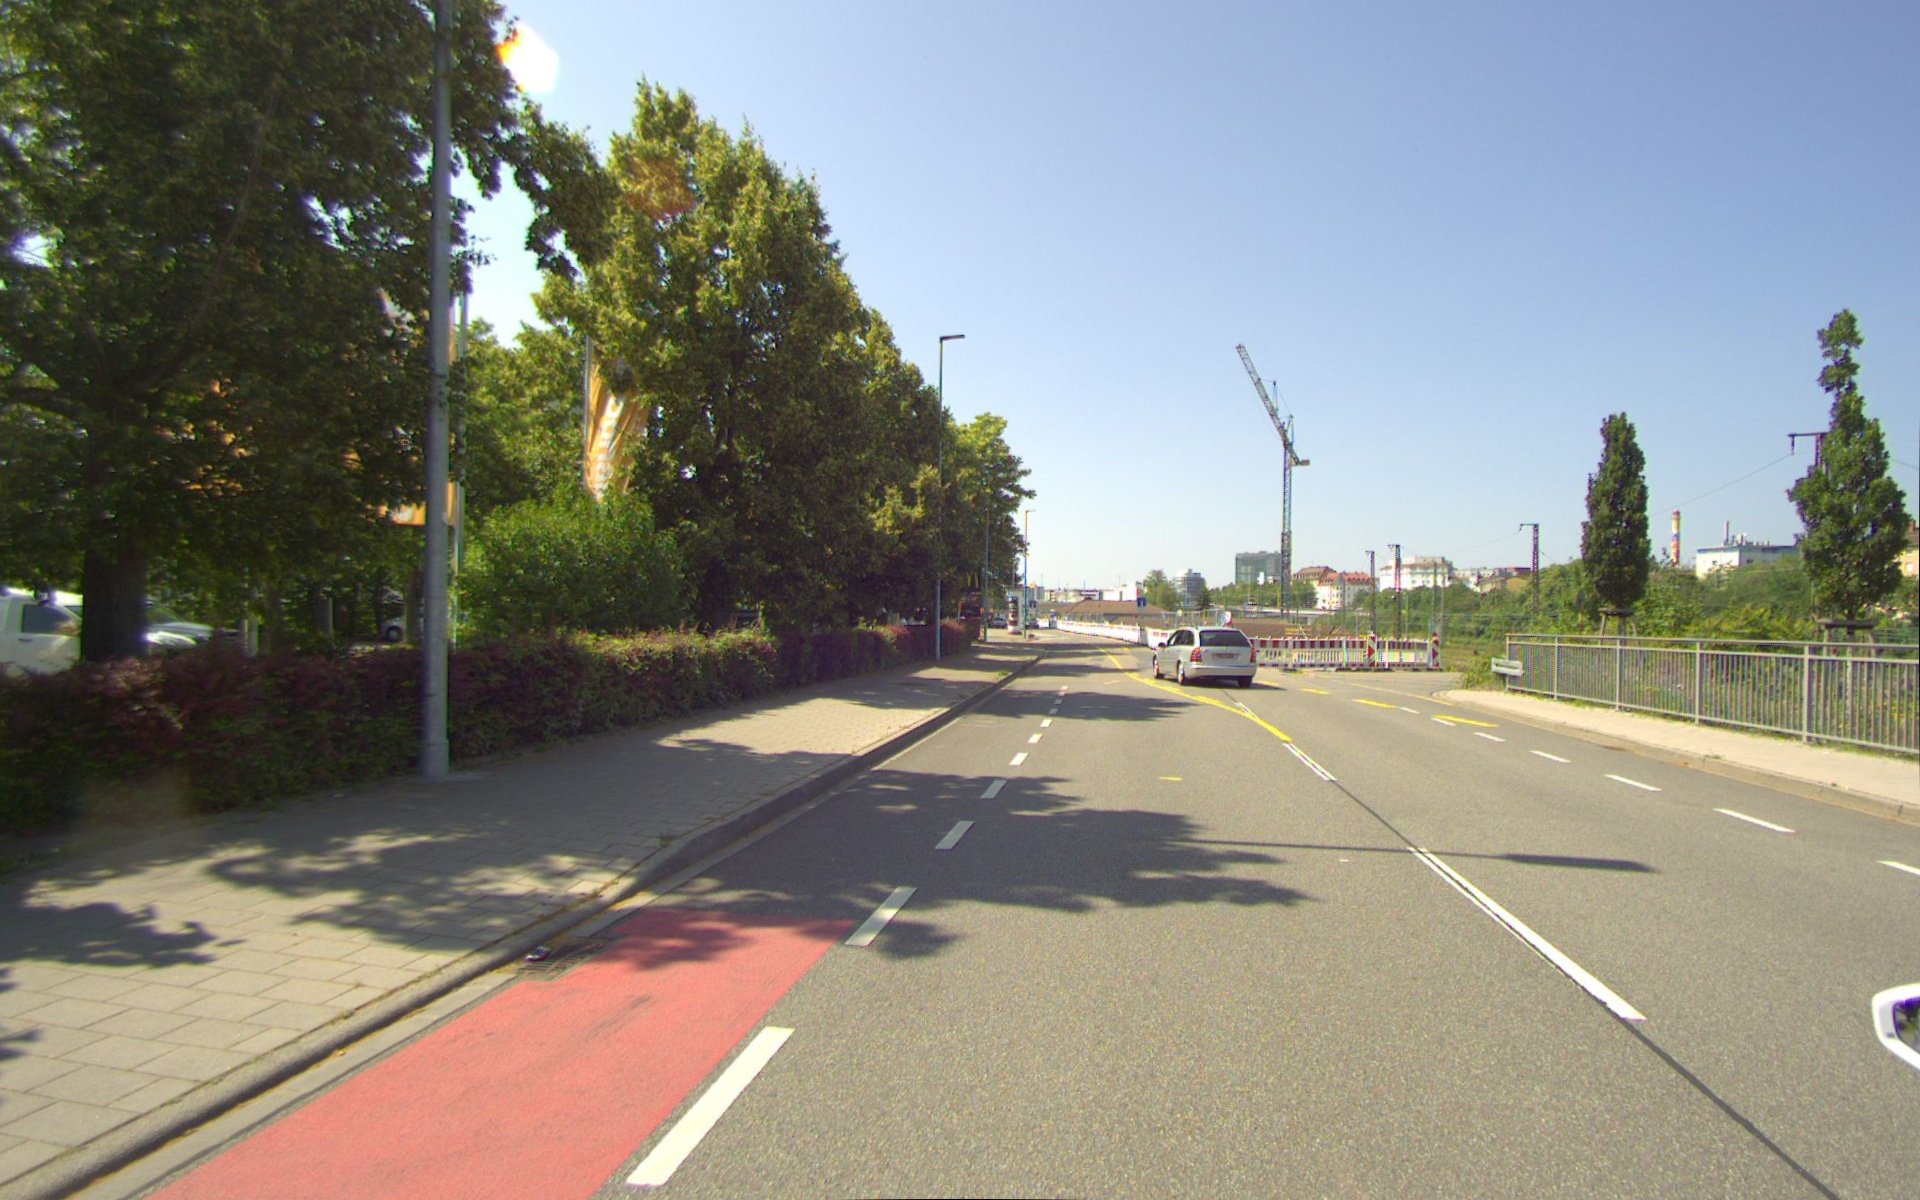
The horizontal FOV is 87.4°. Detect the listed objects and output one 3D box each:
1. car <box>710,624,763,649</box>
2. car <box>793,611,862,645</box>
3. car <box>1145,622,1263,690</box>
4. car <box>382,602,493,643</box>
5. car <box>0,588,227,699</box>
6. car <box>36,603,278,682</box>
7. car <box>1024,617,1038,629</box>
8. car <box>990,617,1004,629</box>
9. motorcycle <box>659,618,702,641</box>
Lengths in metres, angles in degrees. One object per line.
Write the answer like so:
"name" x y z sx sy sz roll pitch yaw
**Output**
"car" -15.547 2.514 70.083 1.665 1.485 3.397 -1 2 33
"car" -8.724 1.846 65.850 4.457 1.945 1.884 -4 -1 39
"car" 5.868 1.300 24.690 1.681 1.422 4.386 2 -1 -1
"car" -22.020 0.952 42.443 3.777 1.609 1.642 2 -1 -6
"car" -15.794 0.732 17.694 4.276 1.852 1.746 1 0 -10
"car" -17.905 0.939 22.572 3.741 1.604 1.903 2 -1 -8
"car" 9.438 3.041 134.390 1.649 1.513 4.607 0 -1 1
"car" 4.928 2.998 132.833 1.838 1.518 4.032 0 0 3
"motorcycle" -14.961 1.578 53.844 2.151 1.146 0.567 2 -1 -21
